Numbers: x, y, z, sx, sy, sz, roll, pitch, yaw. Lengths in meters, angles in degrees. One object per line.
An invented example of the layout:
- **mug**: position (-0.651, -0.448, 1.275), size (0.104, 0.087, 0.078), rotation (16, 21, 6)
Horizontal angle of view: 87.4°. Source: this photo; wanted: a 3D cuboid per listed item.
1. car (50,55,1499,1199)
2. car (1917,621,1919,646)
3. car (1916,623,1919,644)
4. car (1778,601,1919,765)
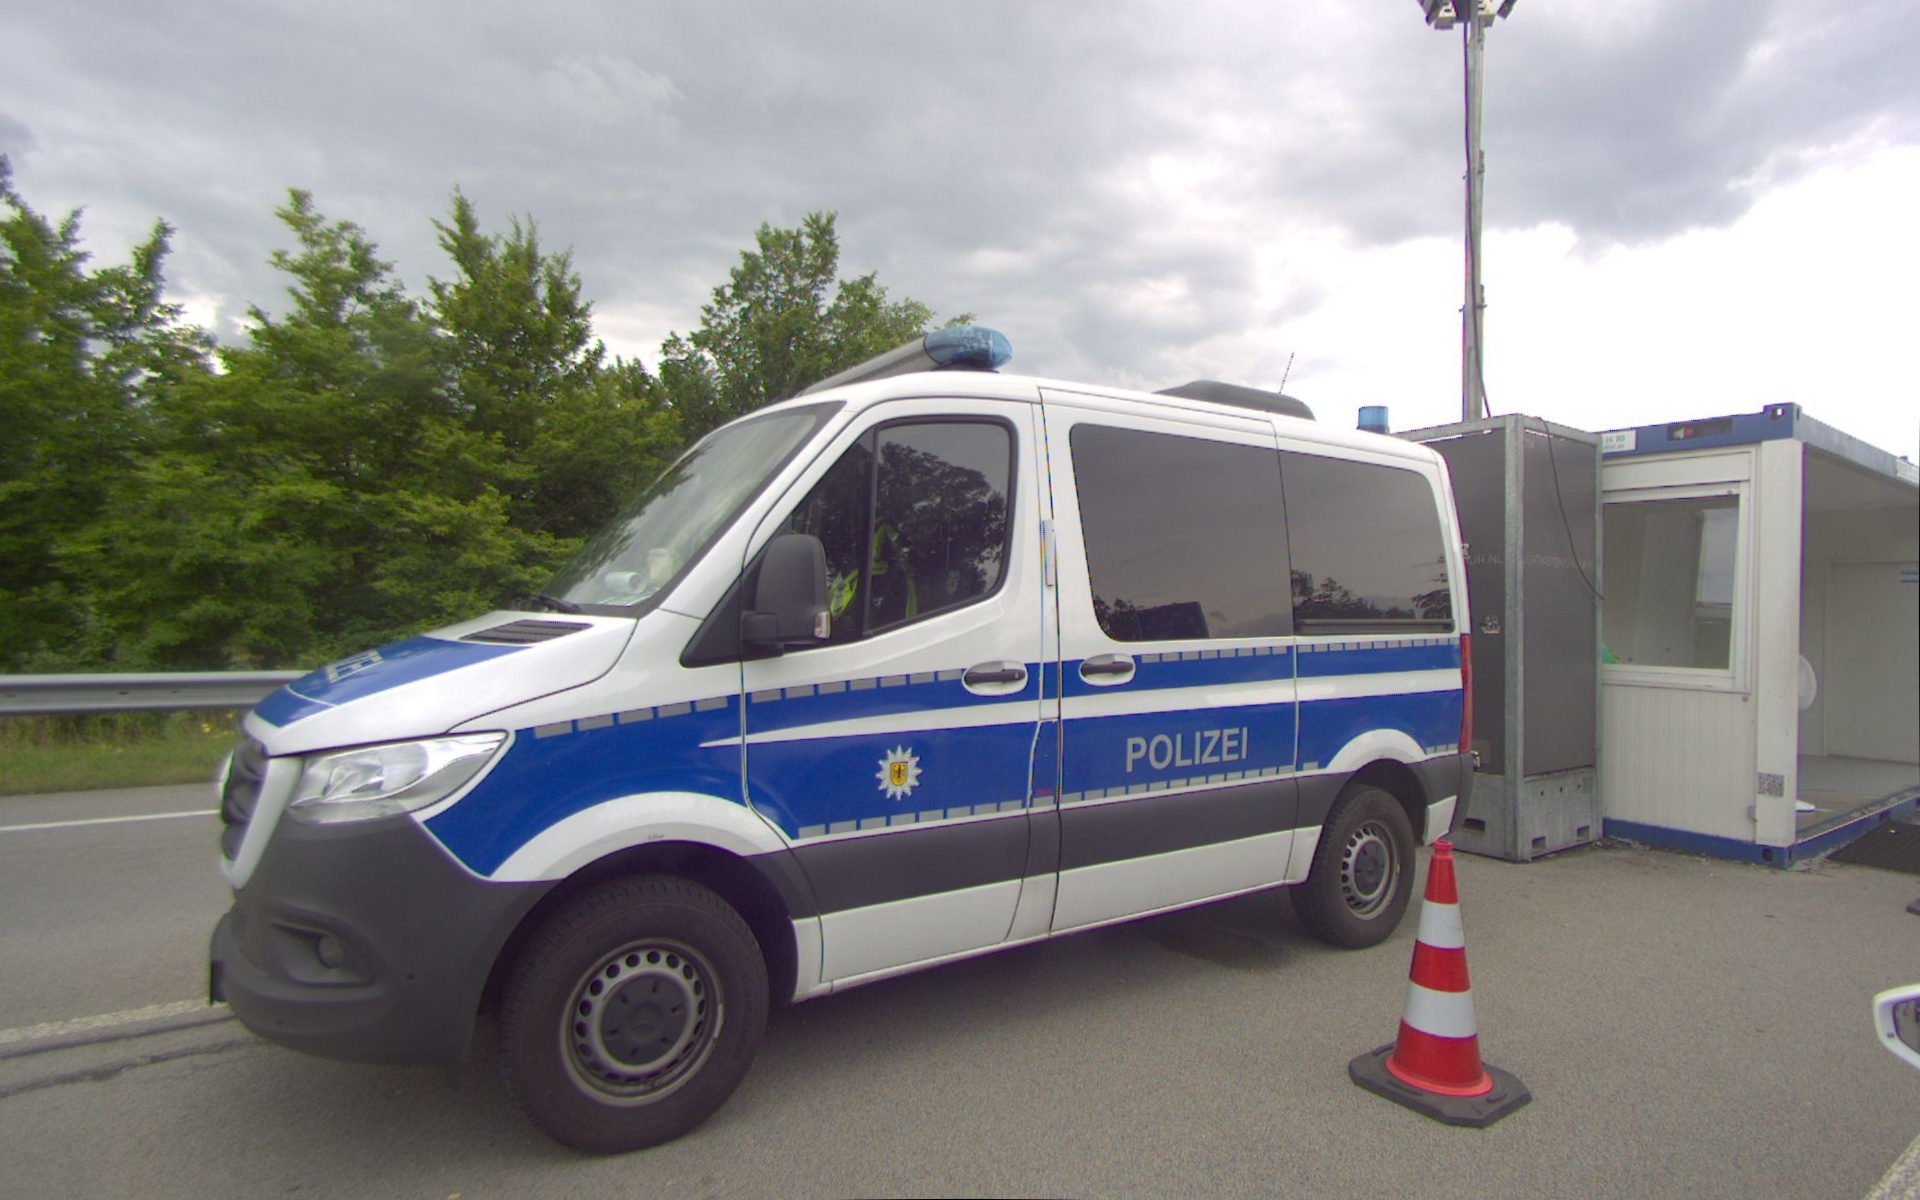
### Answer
- **car**: position (-0.124, 0.241, 4.254), size (5.224, 2.496, 2.017), rotation (1, 0, -34)
- **car**: position (59.920, 2.082, 61.440), size (4.229, 1.518, 1.837), rotation (2, -1, -45)
- **car**: position (71.213, 2.490, 73.361), size (1.834, 1.518, 4.235), rotation (1, -1, 41)
- **car**: position (11.803, 0.936, 12.183), size (3.967, 1.767, 1.857), rotation (1, 0, -34)
